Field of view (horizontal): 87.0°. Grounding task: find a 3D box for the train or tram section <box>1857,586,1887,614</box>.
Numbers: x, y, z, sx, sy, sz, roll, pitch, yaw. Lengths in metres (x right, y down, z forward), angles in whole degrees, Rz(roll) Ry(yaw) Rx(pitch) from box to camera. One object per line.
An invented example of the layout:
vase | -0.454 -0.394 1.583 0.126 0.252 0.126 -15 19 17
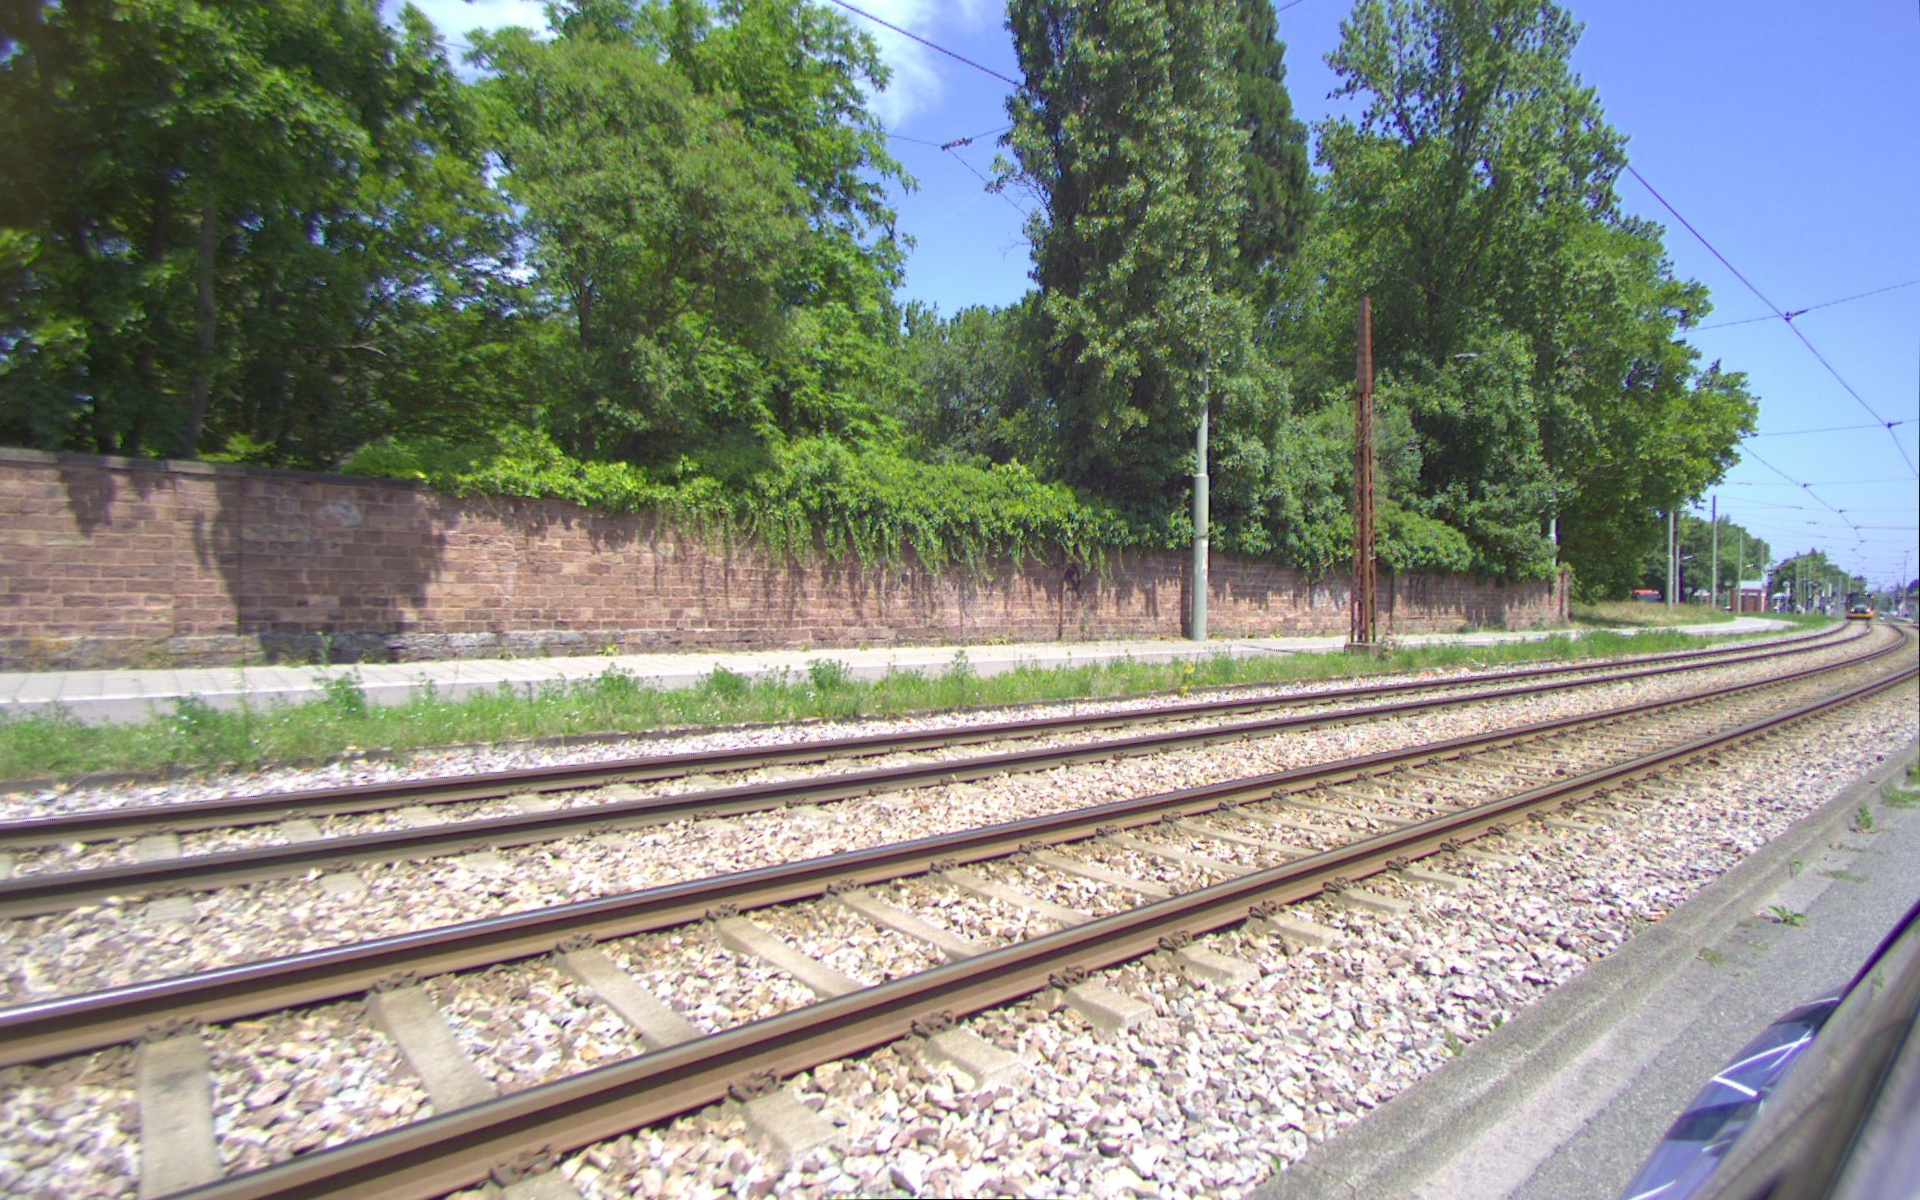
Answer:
train or tram section | 114.632 0.023 127.141 2.519 3.364 7.145 2 1 44

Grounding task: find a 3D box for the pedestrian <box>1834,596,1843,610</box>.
pedestrian | 110.377 0.397 127.122 0.631 1.781 0.808 -1 0 30
